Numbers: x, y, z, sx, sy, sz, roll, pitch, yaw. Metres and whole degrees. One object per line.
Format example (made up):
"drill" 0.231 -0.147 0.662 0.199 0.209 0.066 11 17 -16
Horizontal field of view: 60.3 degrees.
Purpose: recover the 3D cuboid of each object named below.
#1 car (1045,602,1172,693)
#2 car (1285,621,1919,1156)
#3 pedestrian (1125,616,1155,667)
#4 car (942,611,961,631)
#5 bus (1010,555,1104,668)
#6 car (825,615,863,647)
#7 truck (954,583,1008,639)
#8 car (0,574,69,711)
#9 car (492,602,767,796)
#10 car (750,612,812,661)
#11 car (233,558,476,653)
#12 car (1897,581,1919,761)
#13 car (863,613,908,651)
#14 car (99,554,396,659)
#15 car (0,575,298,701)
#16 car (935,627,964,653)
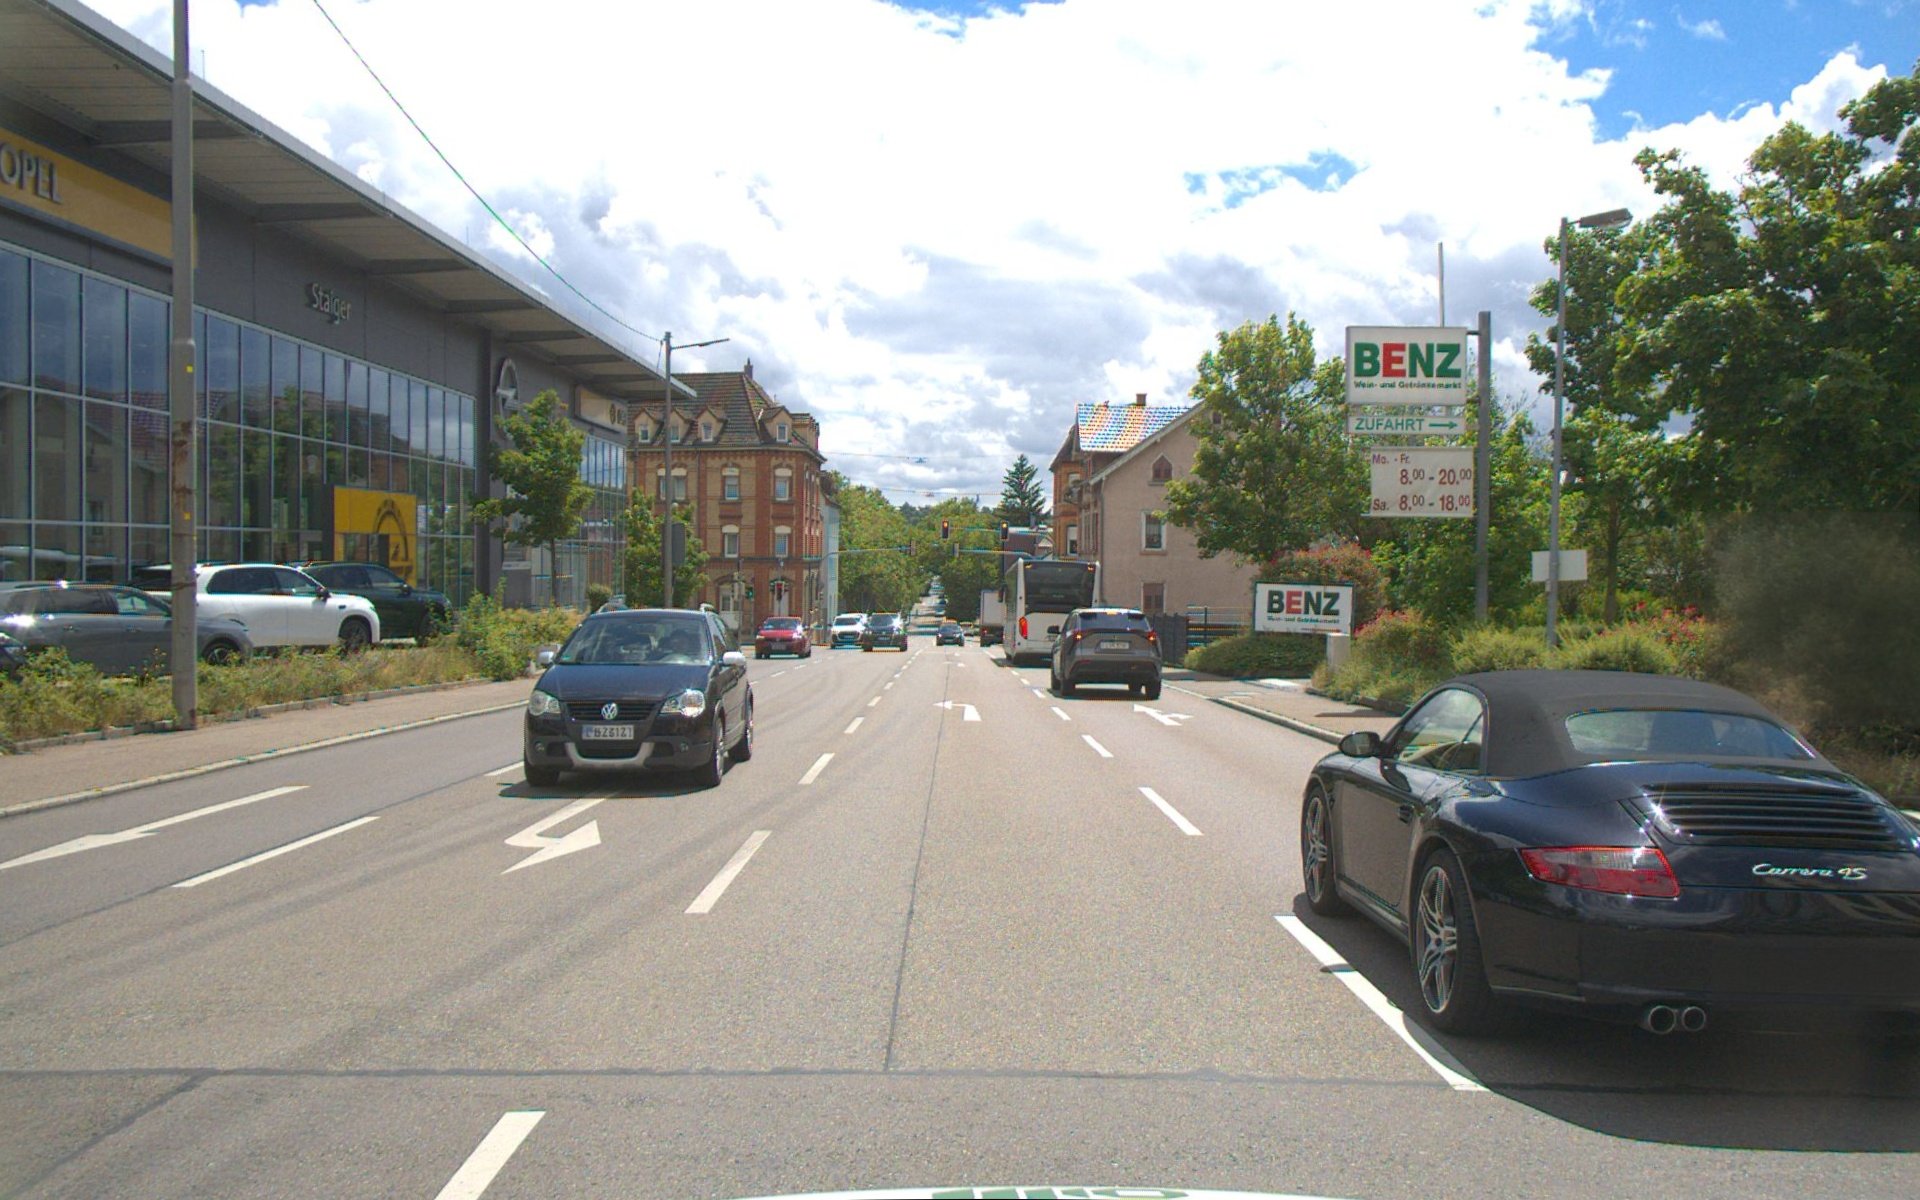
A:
"car" 2.743 0.850 31.464 1.892 1.611 4.206 1 0 -2
"car" 2.722 0.892 7.034 1.891 1.400 4.209 0 2 1
"pedestrian" 5.880 1.346 54.070 0.796 1.609 1.069 -2 -1 -1
"car" -0.889 2.124 169.043 1.795 1.914 3.999 0 1 -2
"bus" 3.068 0.171 55.325 2.744 3.253 12.200 1 2 1
"car" -5.859 1.549 83.799 1.827 1.567 4.104 1 0 -4
"truck" 1.172 0.662 99.319 2.614 3.162 9.029 -1 0 -3
"car" -12.489 0.479 18.188 4.439 1.535 1.913 0 0 -43
"car" -2.885 0.788 15.331 1.792 1.535 4.275 0 0 -2
"car" -6.167 1.229 57.287 1.834 1.517 3.847 -2 0 -3
"car" -11.929 0.038 32.908 1.954 1.728 4.482 1 2 25
"car" 12.399 0.694 16.876 4.618 1.881 2.085 -1 0 -8
"car" -3.192 1.366 71.489 1.826 1.567 4.106 1 0 -1
"car" -11.868 0.115 27.903 1.891 1.600 4.552 0 0 23
"car" -11.698 0.440 22.706 1.858 1.476 4.827 2 2 27
"car" -0.721 2.627 109.560 1.826 1.695 4.258 0 0 -1
